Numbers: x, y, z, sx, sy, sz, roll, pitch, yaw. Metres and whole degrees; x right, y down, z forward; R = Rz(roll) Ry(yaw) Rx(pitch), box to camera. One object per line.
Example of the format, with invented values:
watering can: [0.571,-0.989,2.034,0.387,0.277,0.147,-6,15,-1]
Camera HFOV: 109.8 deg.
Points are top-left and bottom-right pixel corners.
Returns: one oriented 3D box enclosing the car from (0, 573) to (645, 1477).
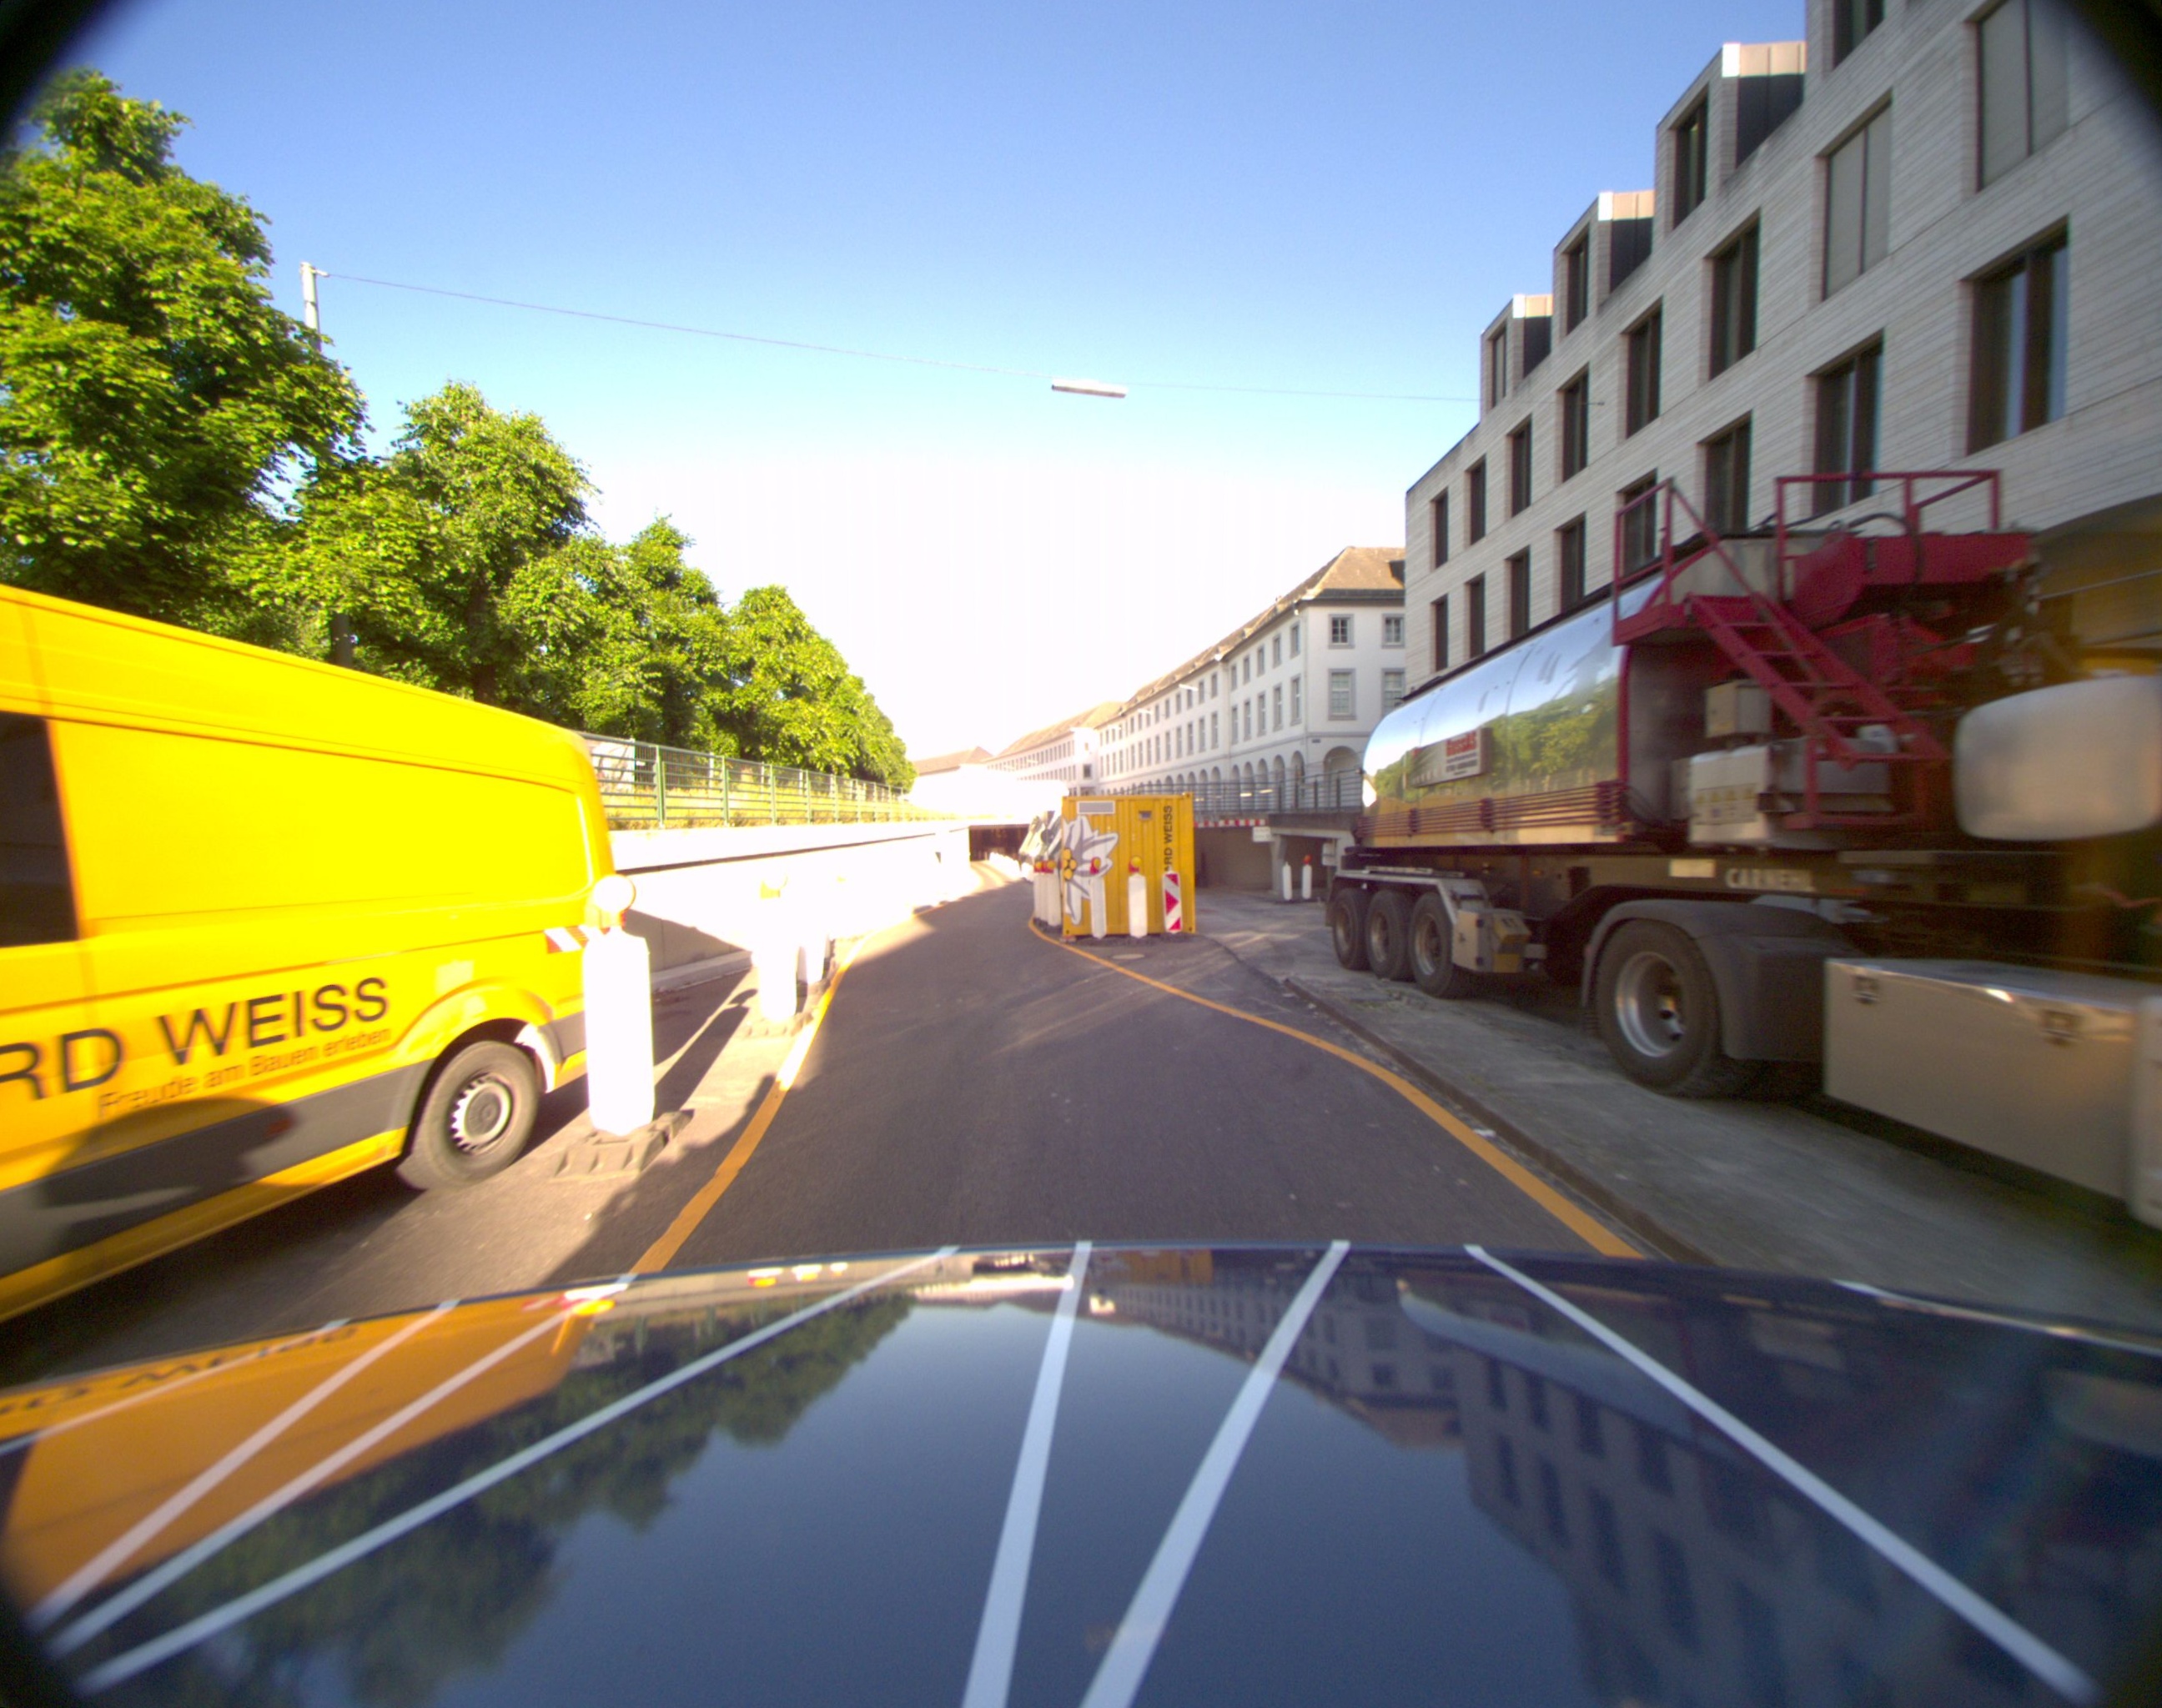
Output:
car: [-4.223,0.517,1.645,2.117,2.609,6.988,-2,1,3]

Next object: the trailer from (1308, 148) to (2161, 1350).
trailer: [4.557,-0.284,6.656,2.648,3.648,8.749,2,1,2]

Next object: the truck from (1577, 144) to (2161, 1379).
truck: [4.297,-0.250,1.828,2.585,3.469,5.817,2,1,4]
